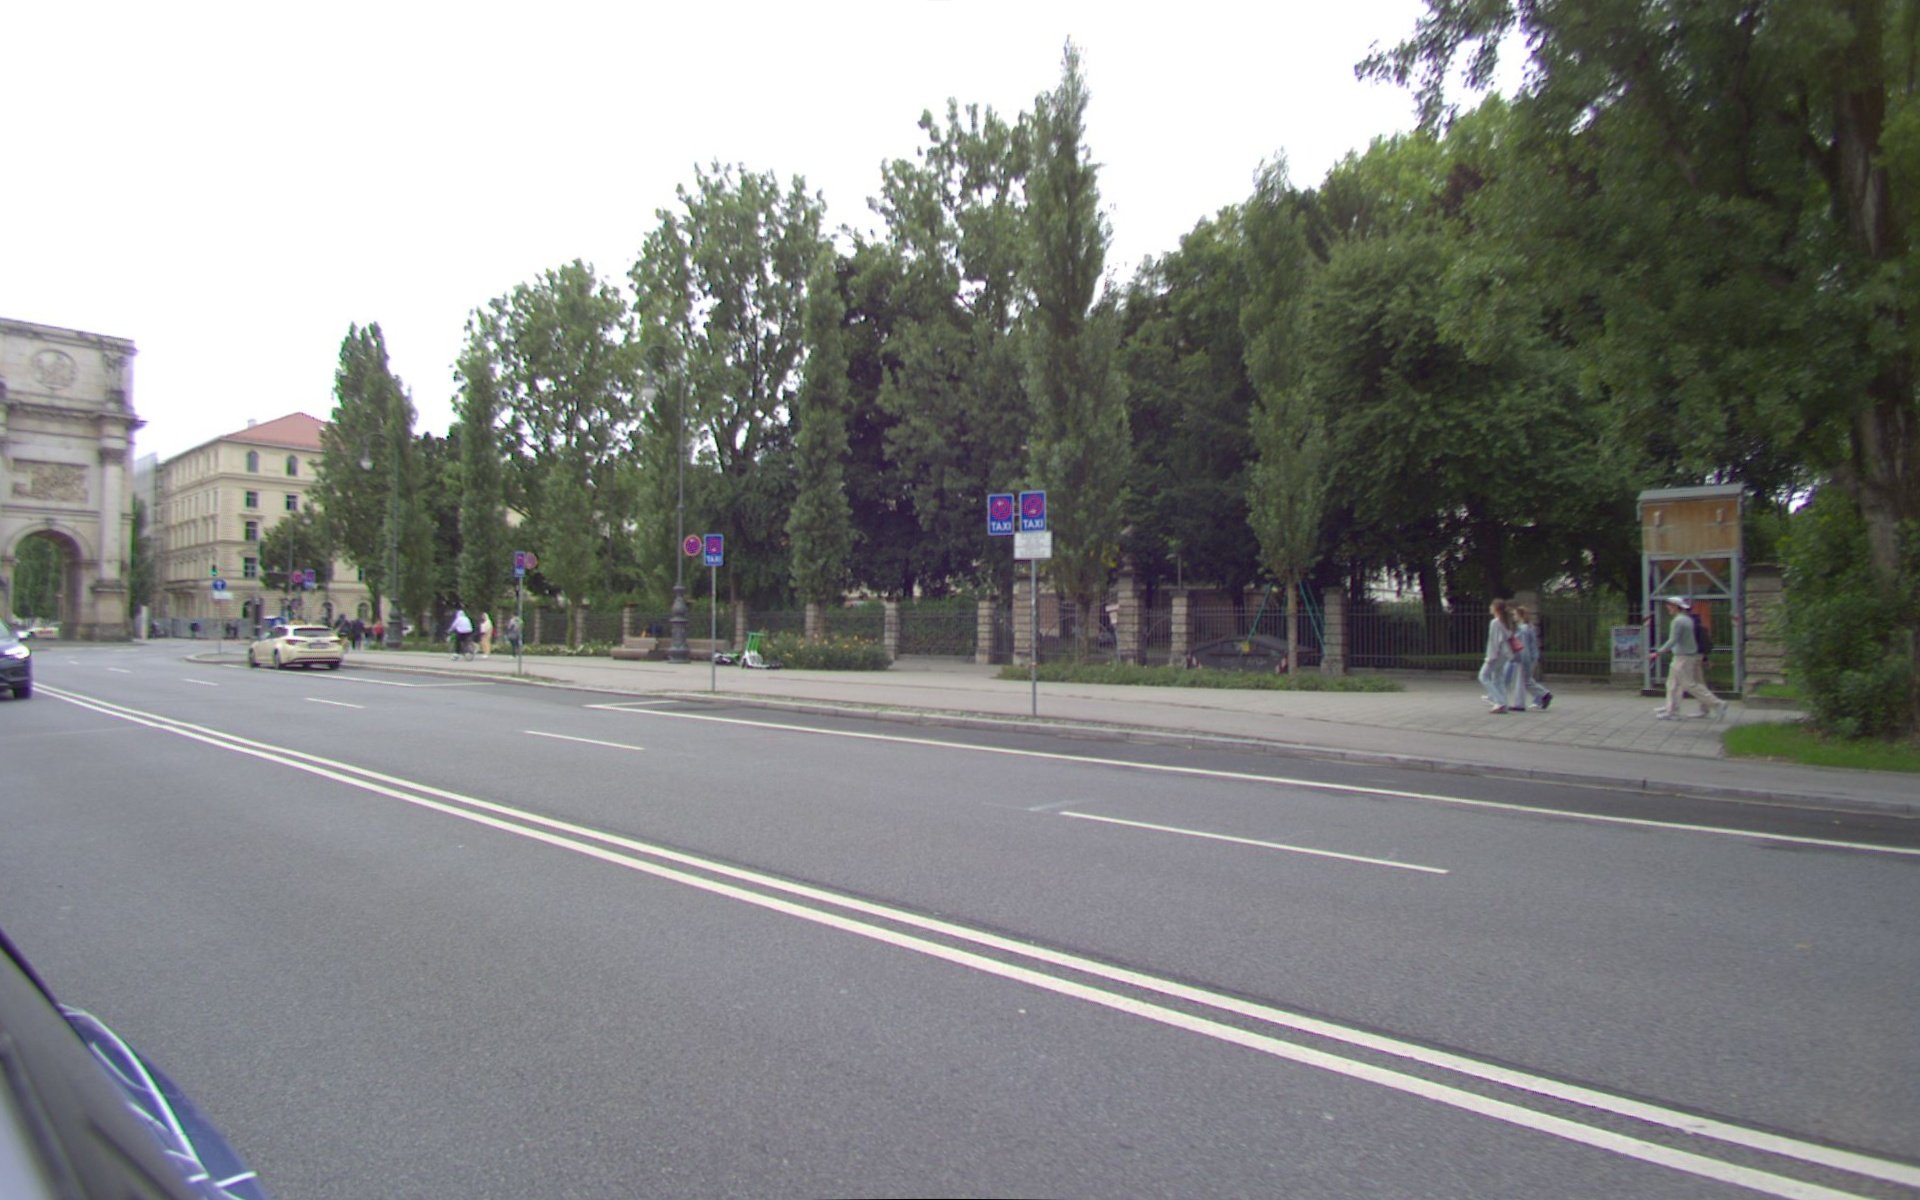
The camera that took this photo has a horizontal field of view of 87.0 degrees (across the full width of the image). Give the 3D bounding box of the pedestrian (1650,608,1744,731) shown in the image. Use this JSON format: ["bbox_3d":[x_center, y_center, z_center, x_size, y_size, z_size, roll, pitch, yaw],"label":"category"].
[{"bbox_3d":[11.140,1.017,15.299,1.092,1.786,0.702,-1,-1,40],"label":"pedestrian"}]

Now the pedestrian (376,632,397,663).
[{"bbox_3d":[-36.431,3.003,64.266,0.976,1.885,1.032,0,-1,-39],"label":"pedestrian"}]

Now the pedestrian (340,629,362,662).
[{"bbox_3d":[-33.067,2.456,54.967,0.945,1.731,1.032,0,-1,-37],"label":"pedestrian"}]

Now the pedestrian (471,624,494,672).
[{"bbox_3d":[-17.748,1.773,37.619,0.581,1.744,0.527,-1,-2,30],"label":"pedestrian"}]

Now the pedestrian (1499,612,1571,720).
[{"bbox_3d":[9.525,1.068,16.766,0.910,1.729,0.653,-2,-3,40],"label":"pedestrian"}]

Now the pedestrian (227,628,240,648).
[{"bbox_3d":[-67.275,3.531,93.686,0.868,1.837,0.687,2,-3,-40],"label":"pedestrian"}]

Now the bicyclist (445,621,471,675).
[{"bbox_3d":[-17.380,1.651,35.054,0.660,1.837,0.583,-2,-1,39],"label":"bicyclist"}]

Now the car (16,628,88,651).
[{"bbox_3d":[-72.750,3.149,81.139,3.945,1.763,1.999,0,-2,1],"label":"car"}]

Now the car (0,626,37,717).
[{"bbox_3d":[-18.739,1.279,18.666,4.179,1.598,1.818,-1,-2,38],"label":"car"}]

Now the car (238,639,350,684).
[{"bbox_3d":[-21.855,1.967,33.148,4.464,1.347,1.774,-2,-3,39],"label":"car"}]

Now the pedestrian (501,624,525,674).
[{"bbox_3d":[-16.036,1.748,36.281,0.581,1.744,0.527,-1,-2,30],"label":"pedestrian"}]

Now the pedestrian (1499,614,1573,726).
[{"bbox_3d":[9.187,1.098,16.148,0.885,1.713,0.681,-2,-3,40],"label":"pedestrian"}]

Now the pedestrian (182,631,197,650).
[{"bbox_3d":[-72.701,3.812,95.508,1.017,1.837,0.883,2,-3,-42],"label":"pedestrian"}]

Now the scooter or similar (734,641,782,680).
[{"bbox_3d":[-6.448,1.923,32.272,1.413,1.187,0.738,-1,-4,36],"label":"scooter or similar"}]

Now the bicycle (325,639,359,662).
[{"bbox_3d":[-25.907,2.106,42.417,1.912,0.959,0.666,-2,-1,40],"label":"bicycle"}]

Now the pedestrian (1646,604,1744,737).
[{"bbox_3d":[10.675,0.993,14.706,1.092,1.847,0.702,-1,-1,40],"label":"pedestrian"}]

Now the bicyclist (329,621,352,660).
[{"bbox_3d":[-25.988,1.694,42.484,0.660,1.604,0.639,-2,-1,39],"label":"bicyclist"}]

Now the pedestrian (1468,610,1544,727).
[{"bbox_3d":[8.546,1.053,15.839,0.907,1.760,0.623,-2,-3,40],"label":"pedestrian"}]

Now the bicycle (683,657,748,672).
[{"bbox_3d":[-8.748,2.321,36.343,1.331,0.456,2.203,-2,-2,18],"label":"bicycle"}]

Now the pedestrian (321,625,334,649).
[{"bbox_3d":[-53.534,3.107,85.648,0.758,2.029,0.888,2,-3,-40],"label":"pedestrian"}]

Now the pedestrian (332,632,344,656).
[{"bbox_3d":[-52.936,3.750,86.148,0.758,2.029,0.888,2,-3,-40],"label":"pedestrian"}]

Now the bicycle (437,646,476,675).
[{"bbox_3d":[-17.467,2.088,35.092,1.912,0.959,0.464,-2,-1,40],"label":"bicycle"}]

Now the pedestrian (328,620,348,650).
[{"bbox_3d":[-36.052,2.019,58.675,0.944,1.731,1.033,0,-1,-27],"label":"pedestrian"}]
